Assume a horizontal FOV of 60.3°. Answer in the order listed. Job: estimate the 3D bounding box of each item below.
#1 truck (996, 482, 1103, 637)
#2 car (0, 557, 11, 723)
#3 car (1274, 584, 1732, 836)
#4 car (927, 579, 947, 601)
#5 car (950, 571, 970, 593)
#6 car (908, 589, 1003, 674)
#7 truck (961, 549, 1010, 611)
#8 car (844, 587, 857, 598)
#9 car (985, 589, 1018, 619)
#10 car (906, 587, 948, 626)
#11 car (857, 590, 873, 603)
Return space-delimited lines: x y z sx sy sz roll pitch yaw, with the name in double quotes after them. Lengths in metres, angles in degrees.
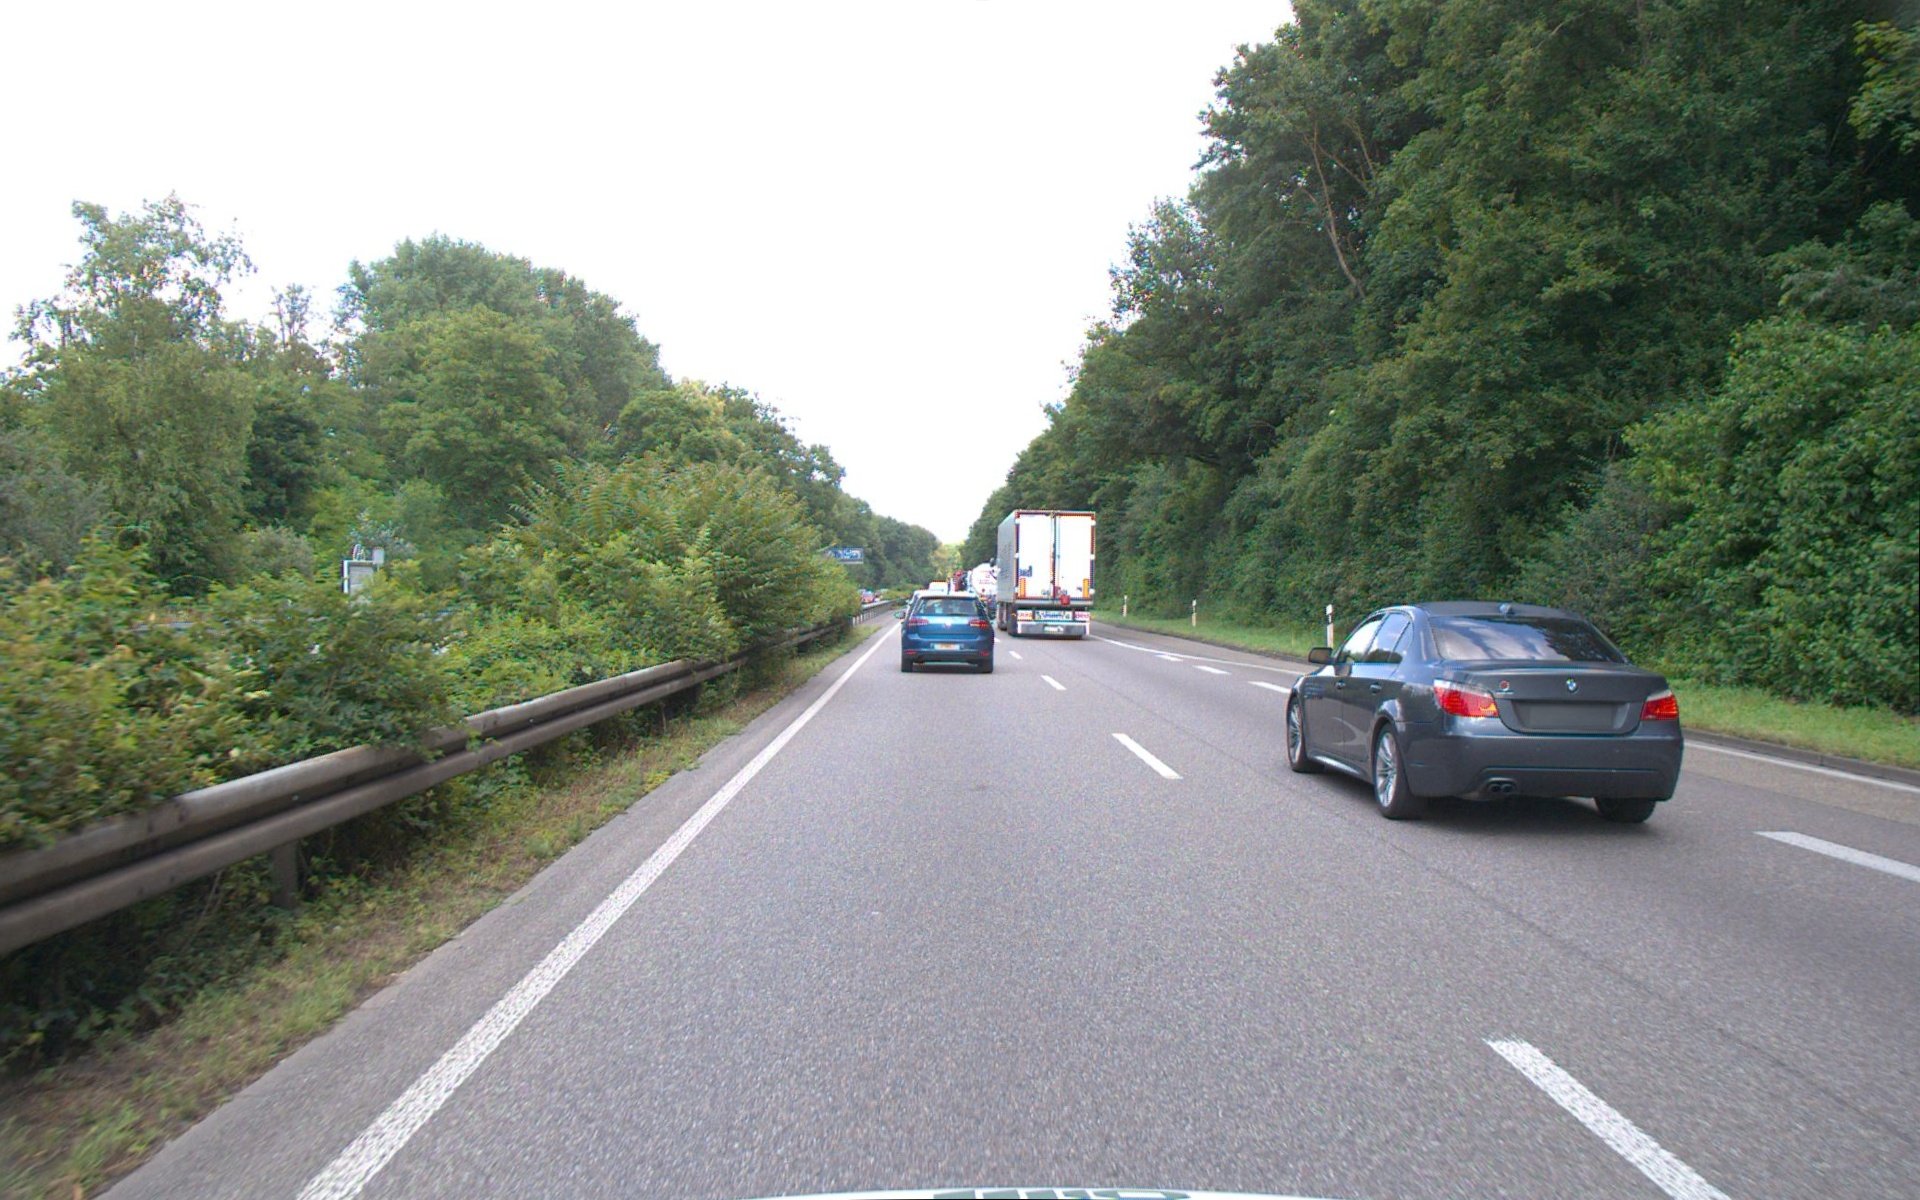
2.932 -1.339 57.289 3.175 4.798 11.008 -1 1 1 "truck"
-11.922 0.485 16.950 1.953 1.902 4.276 -1 0 -1 "car"
3.750 0.648 12.445 1.738 1.501 4.879 1 0 -1 "car"
-2.424 -1.068 173.060 1.954 2.294 4.439 -1 0 -3 "car"
0.009 -1.989 185.683 1.954 2.368 4.439 -1 1 -3 "car"
-0.123 0.550 31.527 1.670 1.495 3.999 1 0 -1 "car"
1.838 -1.428 125.695 3.167 4.463 12.965 0 0 -2 "truck"
-15.919 -1.137 239.780 1.646 1.546 4.858 -1 0 -1 "car"
2.456 0.223 98.690 1.850 1.759 4.000 -1 0 -1 "car"
-1.333 0.247 67.769 1.631 1.526 4.151 0 0 -1 "car"
-11.027 -0.375 192.289 1.644 1.480 4.127 -1 0 0 "car"
